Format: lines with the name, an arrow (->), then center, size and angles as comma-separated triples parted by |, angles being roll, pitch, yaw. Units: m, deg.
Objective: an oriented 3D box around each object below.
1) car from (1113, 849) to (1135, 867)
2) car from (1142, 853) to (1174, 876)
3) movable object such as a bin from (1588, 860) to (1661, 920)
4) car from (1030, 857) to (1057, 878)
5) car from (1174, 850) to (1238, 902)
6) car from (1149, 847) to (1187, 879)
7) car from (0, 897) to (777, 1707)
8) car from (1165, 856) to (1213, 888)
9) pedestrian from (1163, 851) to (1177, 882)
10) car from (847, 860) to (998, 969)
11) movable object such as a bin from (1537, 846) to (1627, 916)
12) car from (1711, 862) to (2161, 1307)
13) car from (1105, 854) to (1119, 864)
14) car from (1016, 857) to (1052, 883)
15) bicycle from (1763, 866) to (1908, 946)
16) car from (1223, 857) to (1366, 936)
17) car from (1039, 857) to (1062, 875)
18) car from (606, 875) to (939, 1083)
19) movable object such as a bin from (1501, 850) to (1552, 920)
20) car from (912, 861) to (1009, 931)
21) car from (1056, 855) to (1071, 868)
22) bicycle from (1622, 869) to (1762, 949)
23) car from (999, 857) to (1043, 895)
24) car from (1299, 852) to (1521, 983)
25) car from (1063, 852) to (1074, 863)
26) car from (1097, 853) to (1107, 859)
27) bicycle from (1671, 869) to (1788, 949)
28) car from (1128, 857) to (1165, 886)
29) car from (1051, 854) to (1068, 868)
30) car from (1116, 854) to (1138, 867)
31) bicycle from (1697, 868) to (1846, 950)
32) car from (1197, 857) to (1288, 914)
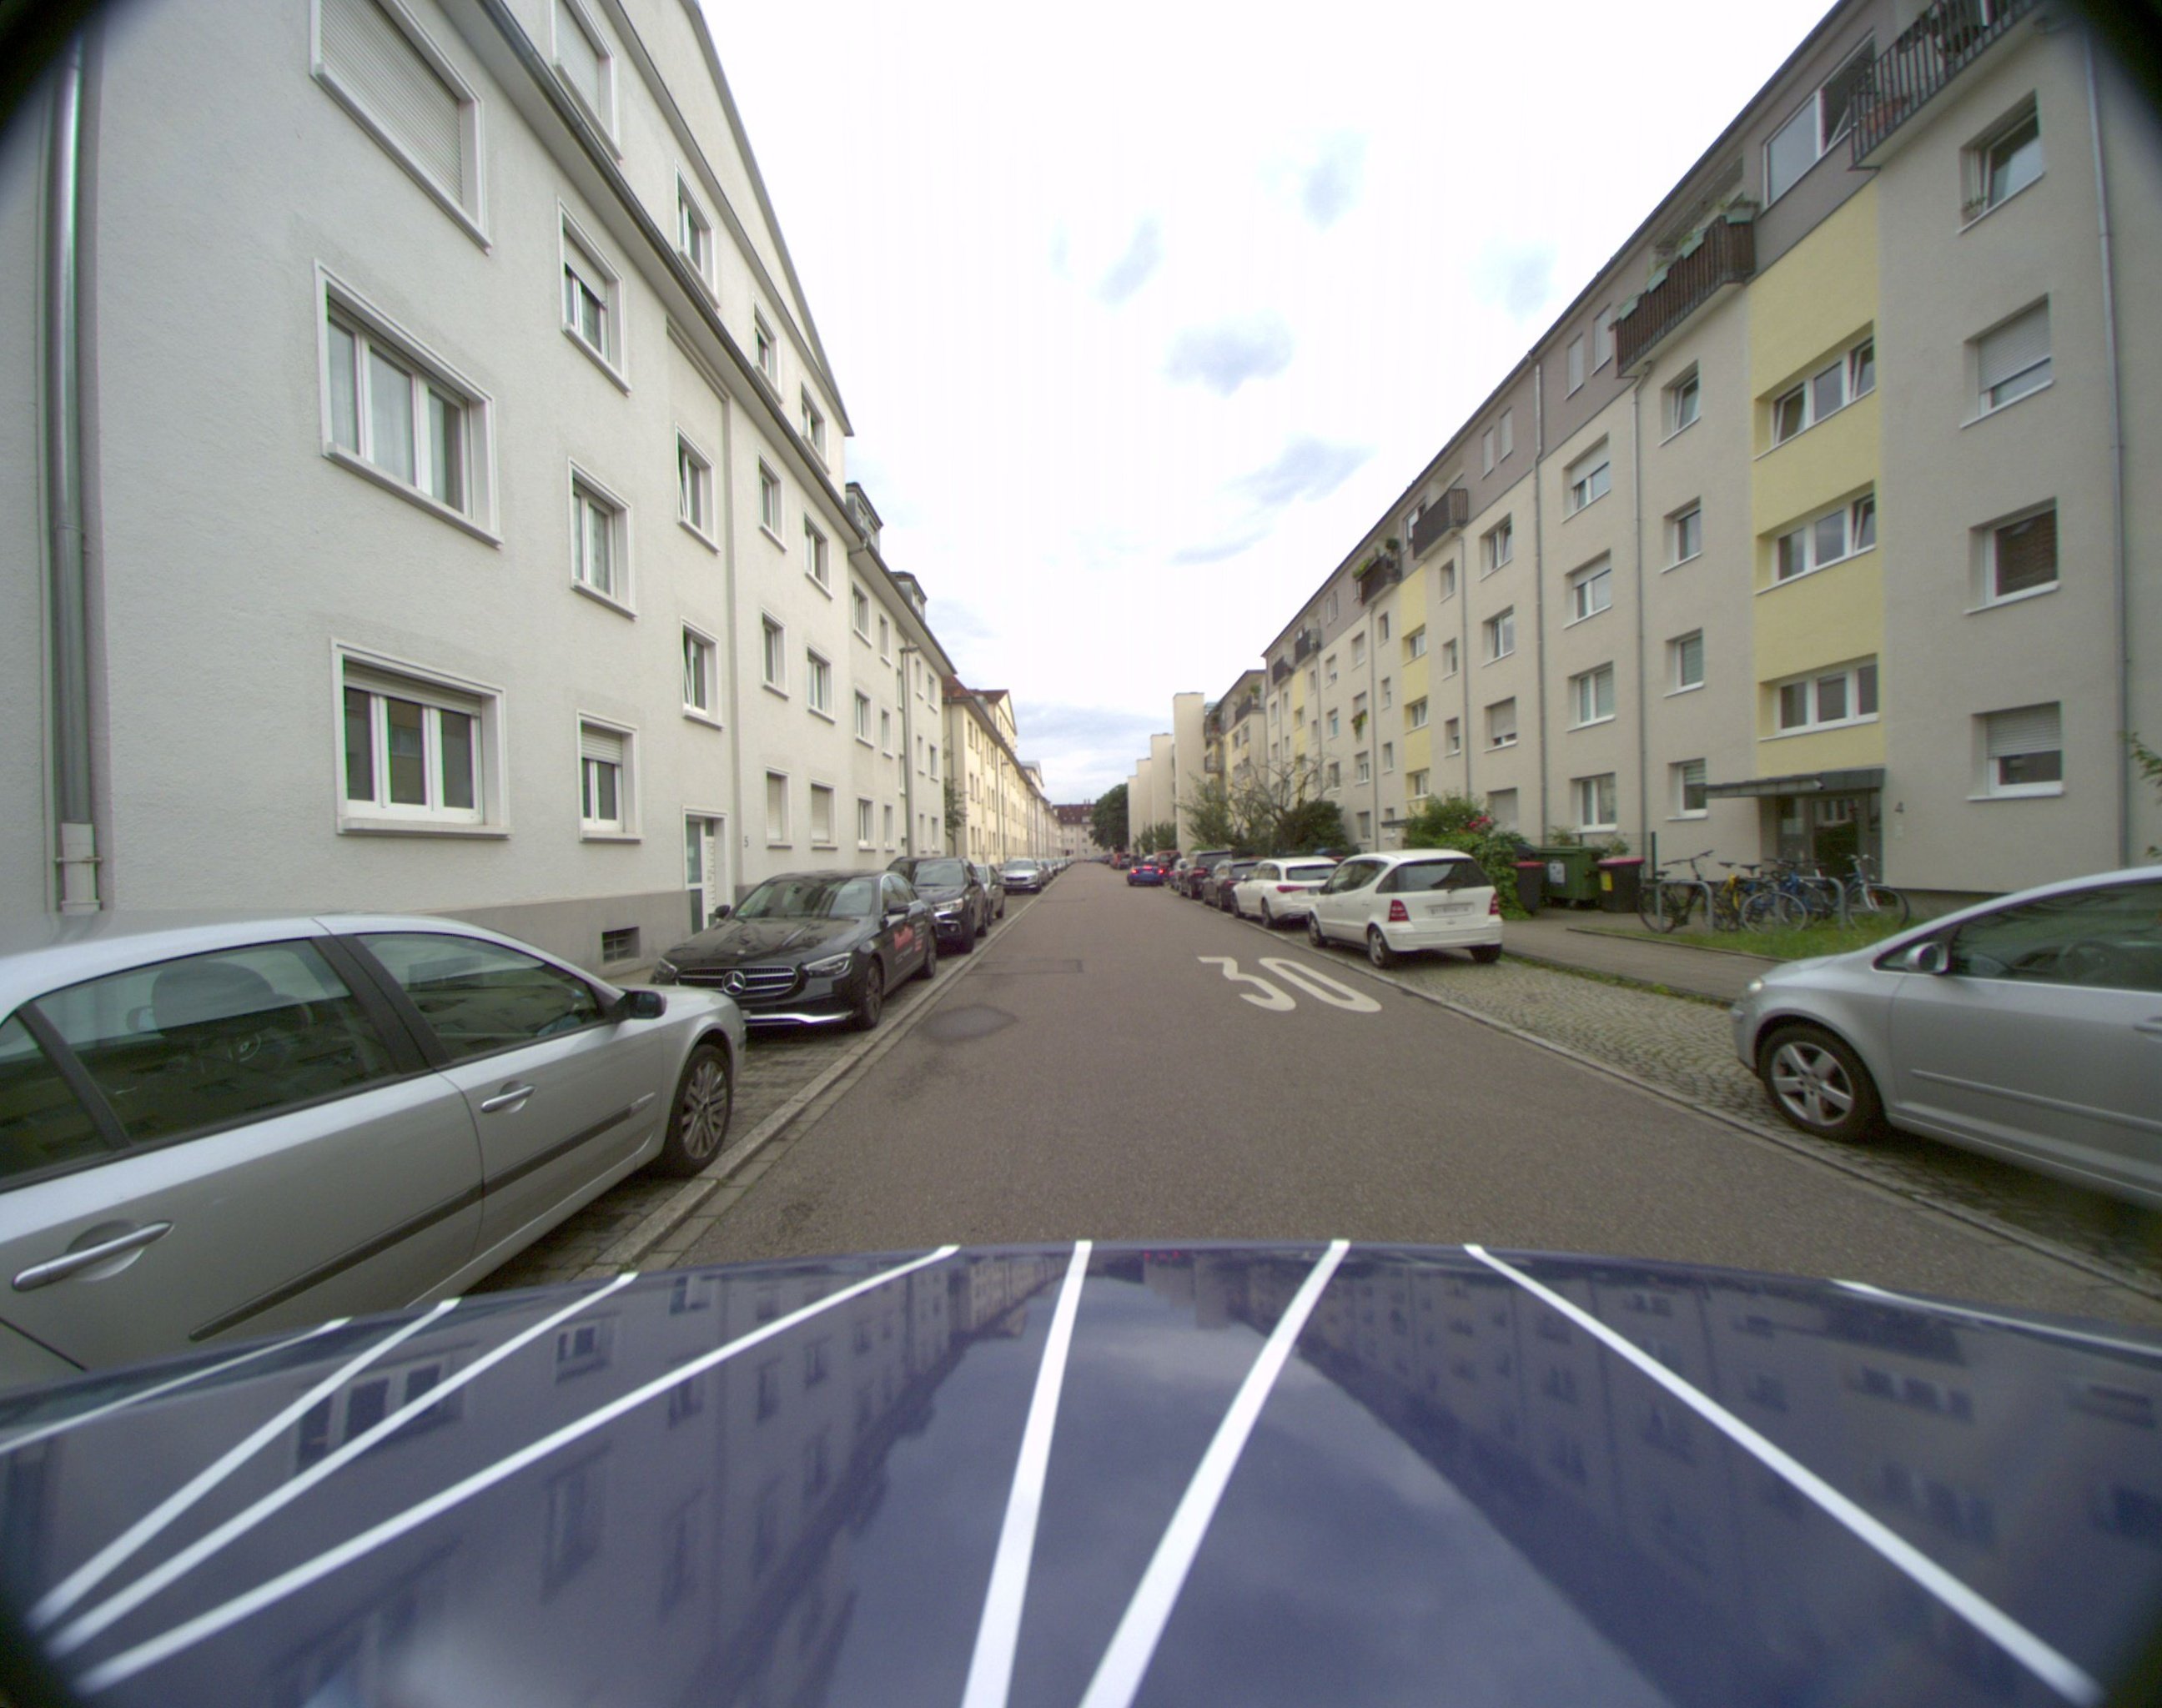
car -> 5.186, 0.484, 92.216 | 2.188, 2.019, 4.422 | -2, 0, -2
car -> 5.221, 0.704, 52.011 | 1.707, 1.436, 3.542 | -2, 0, -2
movable object such as a bin -> 10.648, 0.695, 14.910 | 0.871, 1.103, 0.787 | -2, 2, -4
car -> -2.642, 0.938, 54.513 | 1.737, 1.402, 4.217 | -1, 0, -1
car -> 4.601, 0.779, 28.460 | 1.575, 1.769, 4.452 | -2, 0, -1
car -> 5.224, 0.546, 45.822 | 1.707, 1.795, 3.542 | -2, 0, -2
car -> -2.705, 0.996, 2.429 | 1.737, 1.454, 4.430 | -1, 0, -1
car -> 4.955, 0.805, 35.270 | 1.575, 1.389, 3.542 | -2, 0, -2
pedestrian -> 4.792, 0.669, 40.941 | 0.603, 1.657, 0.622 | -2, 0, -2
car -> -2.610, 0.921, 13.515 | 1.853, 1.589, 4.159 | -1, 0, -1
movable object such as a bin -> 10.511, 0.548, 15.975 | 1.059, 1.367, 1.188 | -2, 2, -5
car -> 4.724, 0.843, 2.707 | 1.658, 1.541, 3.915 | -2, 0, 0
car -> 5.345, 0.889, 131.459 | 1.745, 1.534, 3.636 | -2, 0, -6
car -> -2.624, 0.880, 43.269 | 1.737, 1.418, 4.217 | -1, 0, 0
bicycle -> 10.565, 0.693, 10.710 | 0.421, 1.018, 1.559 | -2, 0, -3
car -> 4.632, 0.862, 17.248 | 1.723, 1.501, 4.687 | -2, 0, -2
car -> -2.461, 0.948, 62.222 | 1.737, 1.363, 4.217 | -1, 0, -1
car -> -2.763, 1.019, 7.990 | 1.786, 1.454, 4.322 | -1, 0, -1
movable object such as a bin -> 9.055, 0.615, 15.467 | 0.659, 1.360, 0.587 | -2, 2, -4
car -> -2.830, 0.938, 18.576 | 1.737, 1.478, 3.756 | -1, 0, 0
car -> -2.140, 0.877, 91.196 | 1.737, 1.443, 4.217 | -1, 0, -1
bicycle -> 8.703, 0.742, 10.929 | 0.489, 1.018, 1.878 | -2, 0, 0
car -> -2.641, 0.949, 34.356 | 1.737, 1.538, 3.677 | -1, 0, -1
car -> 4.743, 0.815, 11.566 | 1.689, 1.629, 3.727 | -2, 0, -1
car -> -1.942, 0.617, 120.221 | 1.737, 1.670, 3.591 | -1, 0, -1
car -> 4.928, 0.491, 180.389 | 1.745, 1.534, 3.636 | -2, 0, -6
bicycle -> 9.182, 0.746, 10.824 | 0.357, 1.018, 1.497 | -2, 0, 0
car -> 3.440, 0.901, 40.317 | 1.679, 1.307, 3.908 | -2, 1, 1
car -> -2.318, 0.703, 81.401 | 1.737, 1.443, 4.217 | -1, 0, -1
car -> 5.216, 0.719, 85.980 | 2.013, 1.436, 4.197 | -2, 0, -2
bicycle -> 9.678, 0.727, 10.738 | 0.479, 1.018, 1.755 | -2, 0, 0
car -> 4.637, 0.842, 22.430 | 1.729, 1.445, 4.483 | -1, 0, 0
